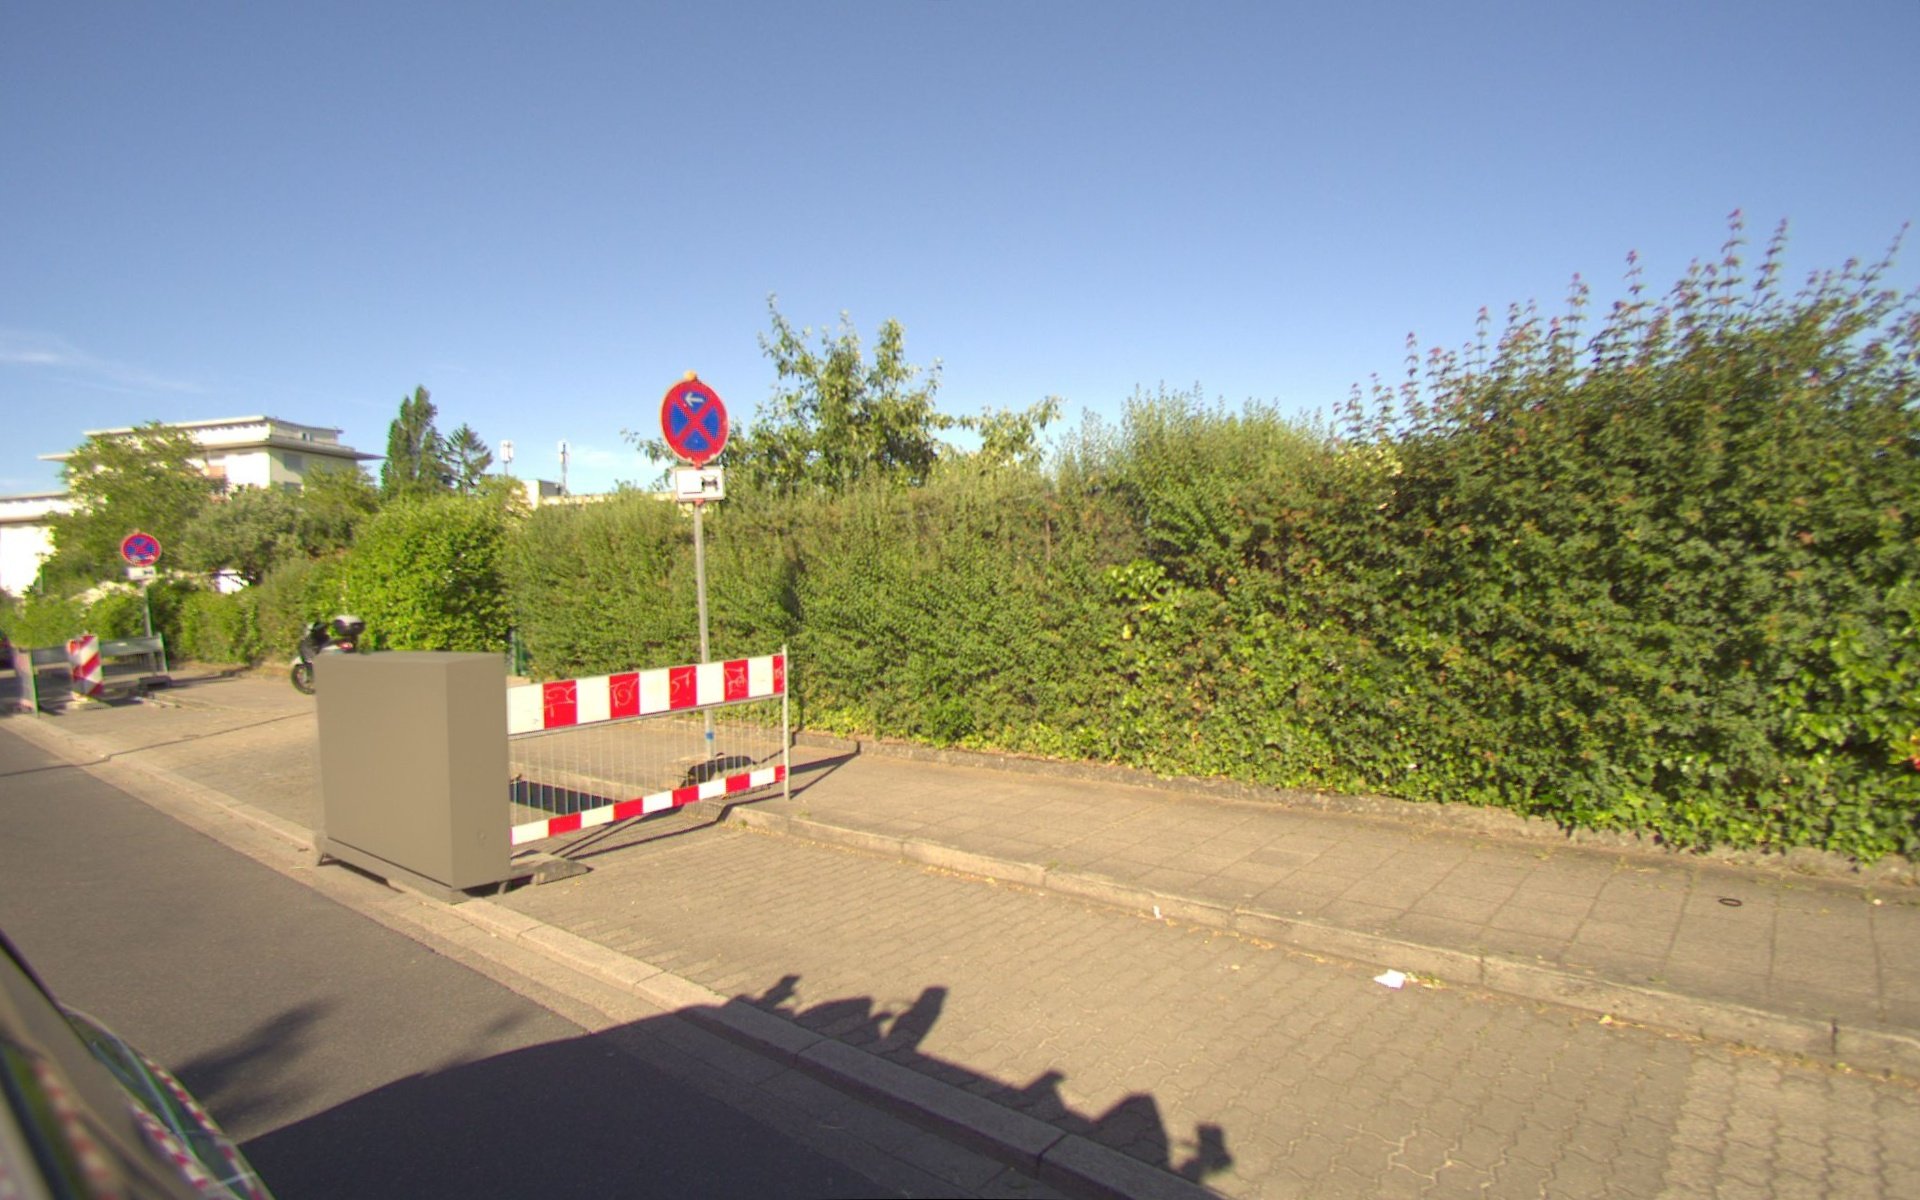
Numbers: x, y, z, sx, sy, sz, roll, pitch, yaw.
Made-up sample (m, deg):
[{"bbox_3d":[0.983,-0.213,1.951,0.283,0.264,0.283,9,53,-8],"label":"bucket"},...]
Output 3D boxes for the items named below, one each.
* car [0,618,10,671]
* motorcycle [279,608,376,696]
[{"bbox_3d":[-30.465,1.352,30.960,4.415,1.568,1.626,-1,0,41],"label":"car"},{"bbox_3d":[-9.926,0.775,15.852,2.088,1.277,0.561,-1,2,38],"label":"motorcycle"}]
